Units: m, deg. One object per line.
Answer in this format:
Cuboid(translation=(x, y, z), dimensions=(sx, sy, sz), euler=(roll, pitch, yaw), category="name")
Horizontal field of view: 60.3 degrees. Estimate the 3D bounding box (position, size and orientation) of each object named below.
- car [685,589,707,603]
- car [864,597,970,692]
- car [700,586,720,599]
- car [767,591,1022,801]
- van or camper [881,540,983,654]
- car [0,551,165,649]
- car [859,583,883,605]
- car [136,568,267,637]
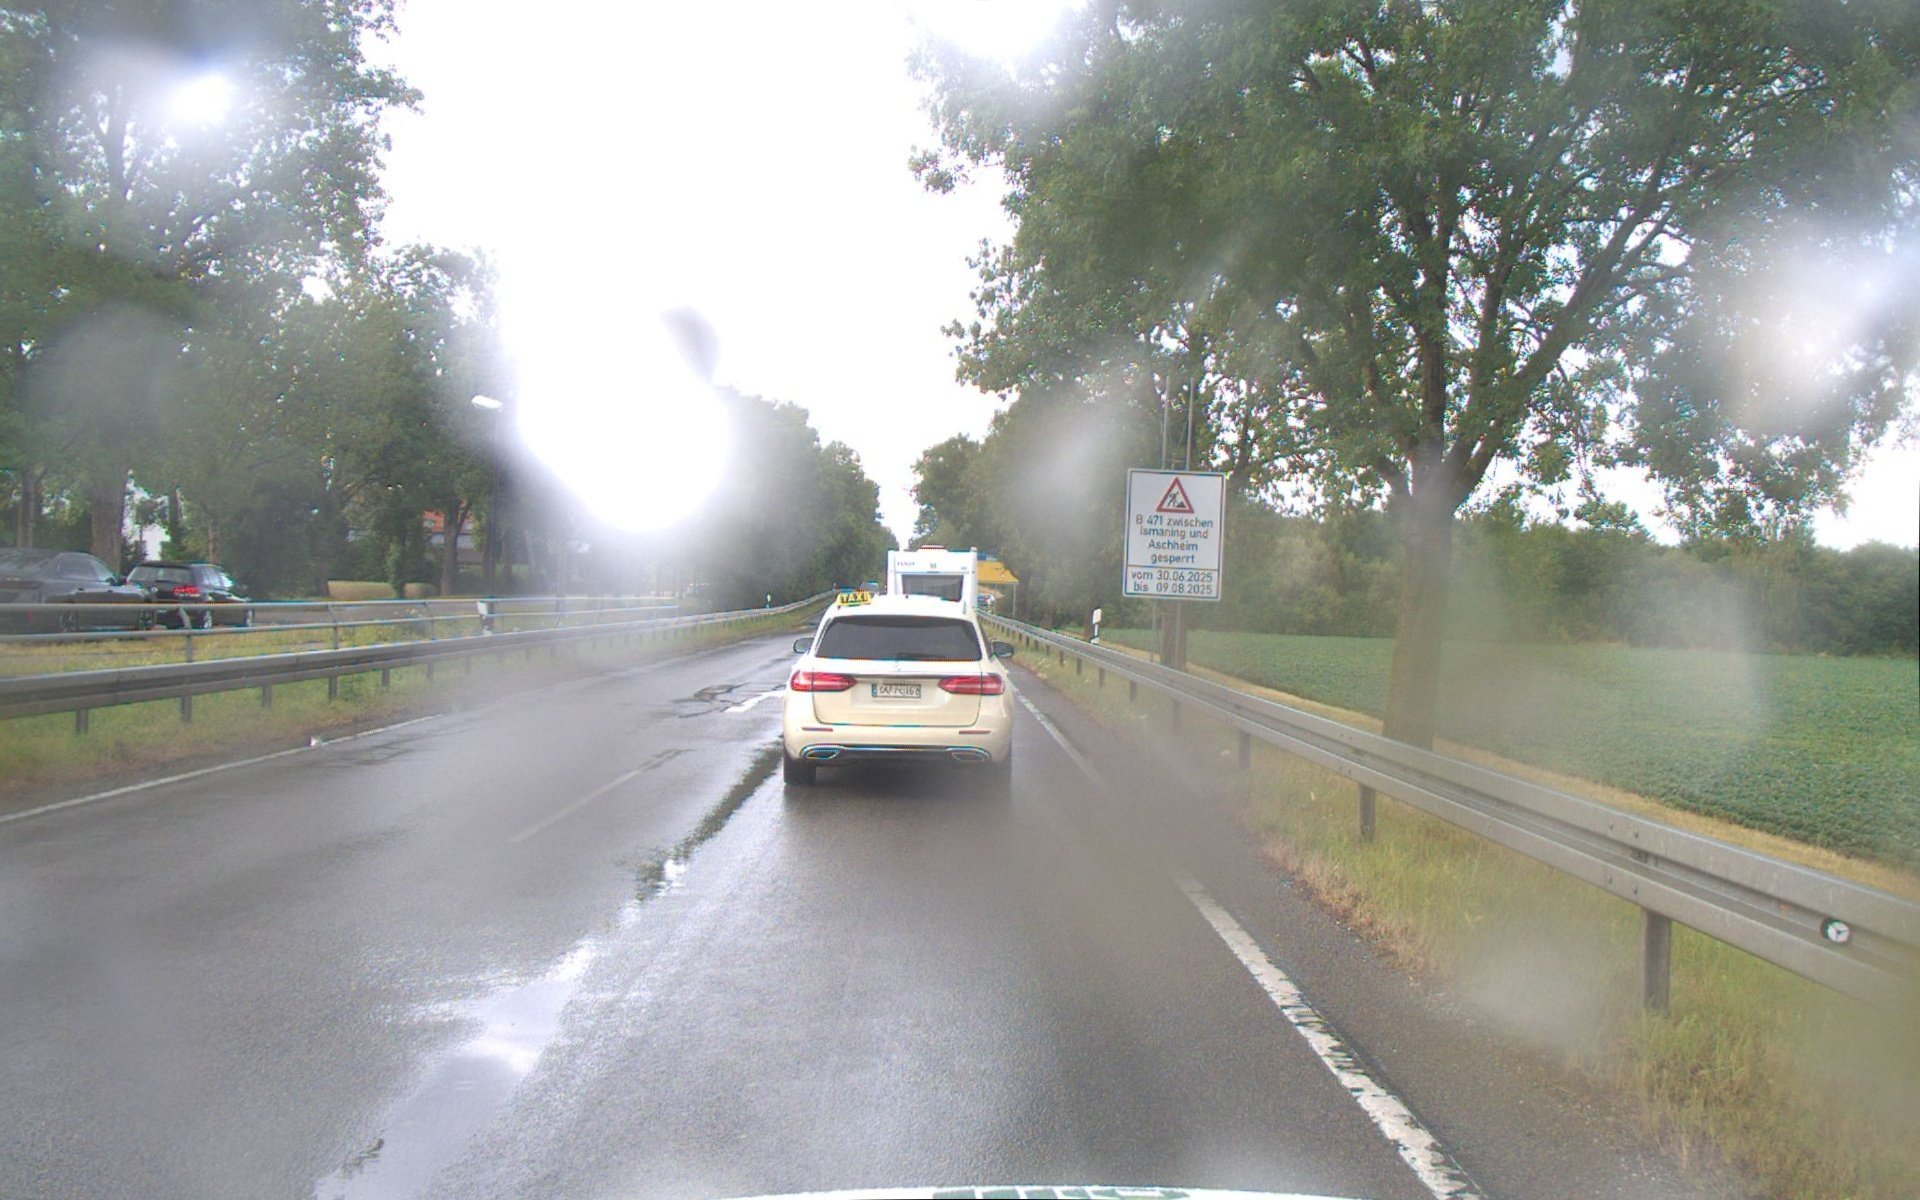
Cuboid(translation=(-28.895, -0.473, 181.186), dimensions=(1.749, 1.440, 4.000), euler=(2, 0, 0), category="car")
Cuboid(translation=(-0.664, 0.682, 27.578), dimensions=(1.630, 1.456, 4.000), euler=(0, 0, 0), category="car")
Cuboid(translation=(-29.406, -0.843, 194.588), dimensions=(1.750, 1.440, 3.998), euler=(2, 0, -3), category="car")
Cuboid(translation=(-0.467, 0.682, 13.929), dimensions=(1.826, 1.502, 4.000), euler=(0, 0, 0), category="car")
Cuboid(translation=(-0.677, -0.086, 43.081), dimensions=(2.438, 2.732, 5.700), euler=(1, 0, 0), category="van or camper")
Cuboid(translation=(-15.457, -0.042, 28.417), dimensions=(1.486, 1.517, 5.116), euler=(2, 0, -5), category="car")
Cuboid(translation=(-6.881, -0.497, 127.717), dimensions=(1.728, 1.647, 3.999), euler=(0, 0, -2), category="car")
Cuboid(translation=(-15.948, 0.033, 34.957), dimensions=(1.258, 1.354, 3.894), euler=(2, 0, -5), category="car")
